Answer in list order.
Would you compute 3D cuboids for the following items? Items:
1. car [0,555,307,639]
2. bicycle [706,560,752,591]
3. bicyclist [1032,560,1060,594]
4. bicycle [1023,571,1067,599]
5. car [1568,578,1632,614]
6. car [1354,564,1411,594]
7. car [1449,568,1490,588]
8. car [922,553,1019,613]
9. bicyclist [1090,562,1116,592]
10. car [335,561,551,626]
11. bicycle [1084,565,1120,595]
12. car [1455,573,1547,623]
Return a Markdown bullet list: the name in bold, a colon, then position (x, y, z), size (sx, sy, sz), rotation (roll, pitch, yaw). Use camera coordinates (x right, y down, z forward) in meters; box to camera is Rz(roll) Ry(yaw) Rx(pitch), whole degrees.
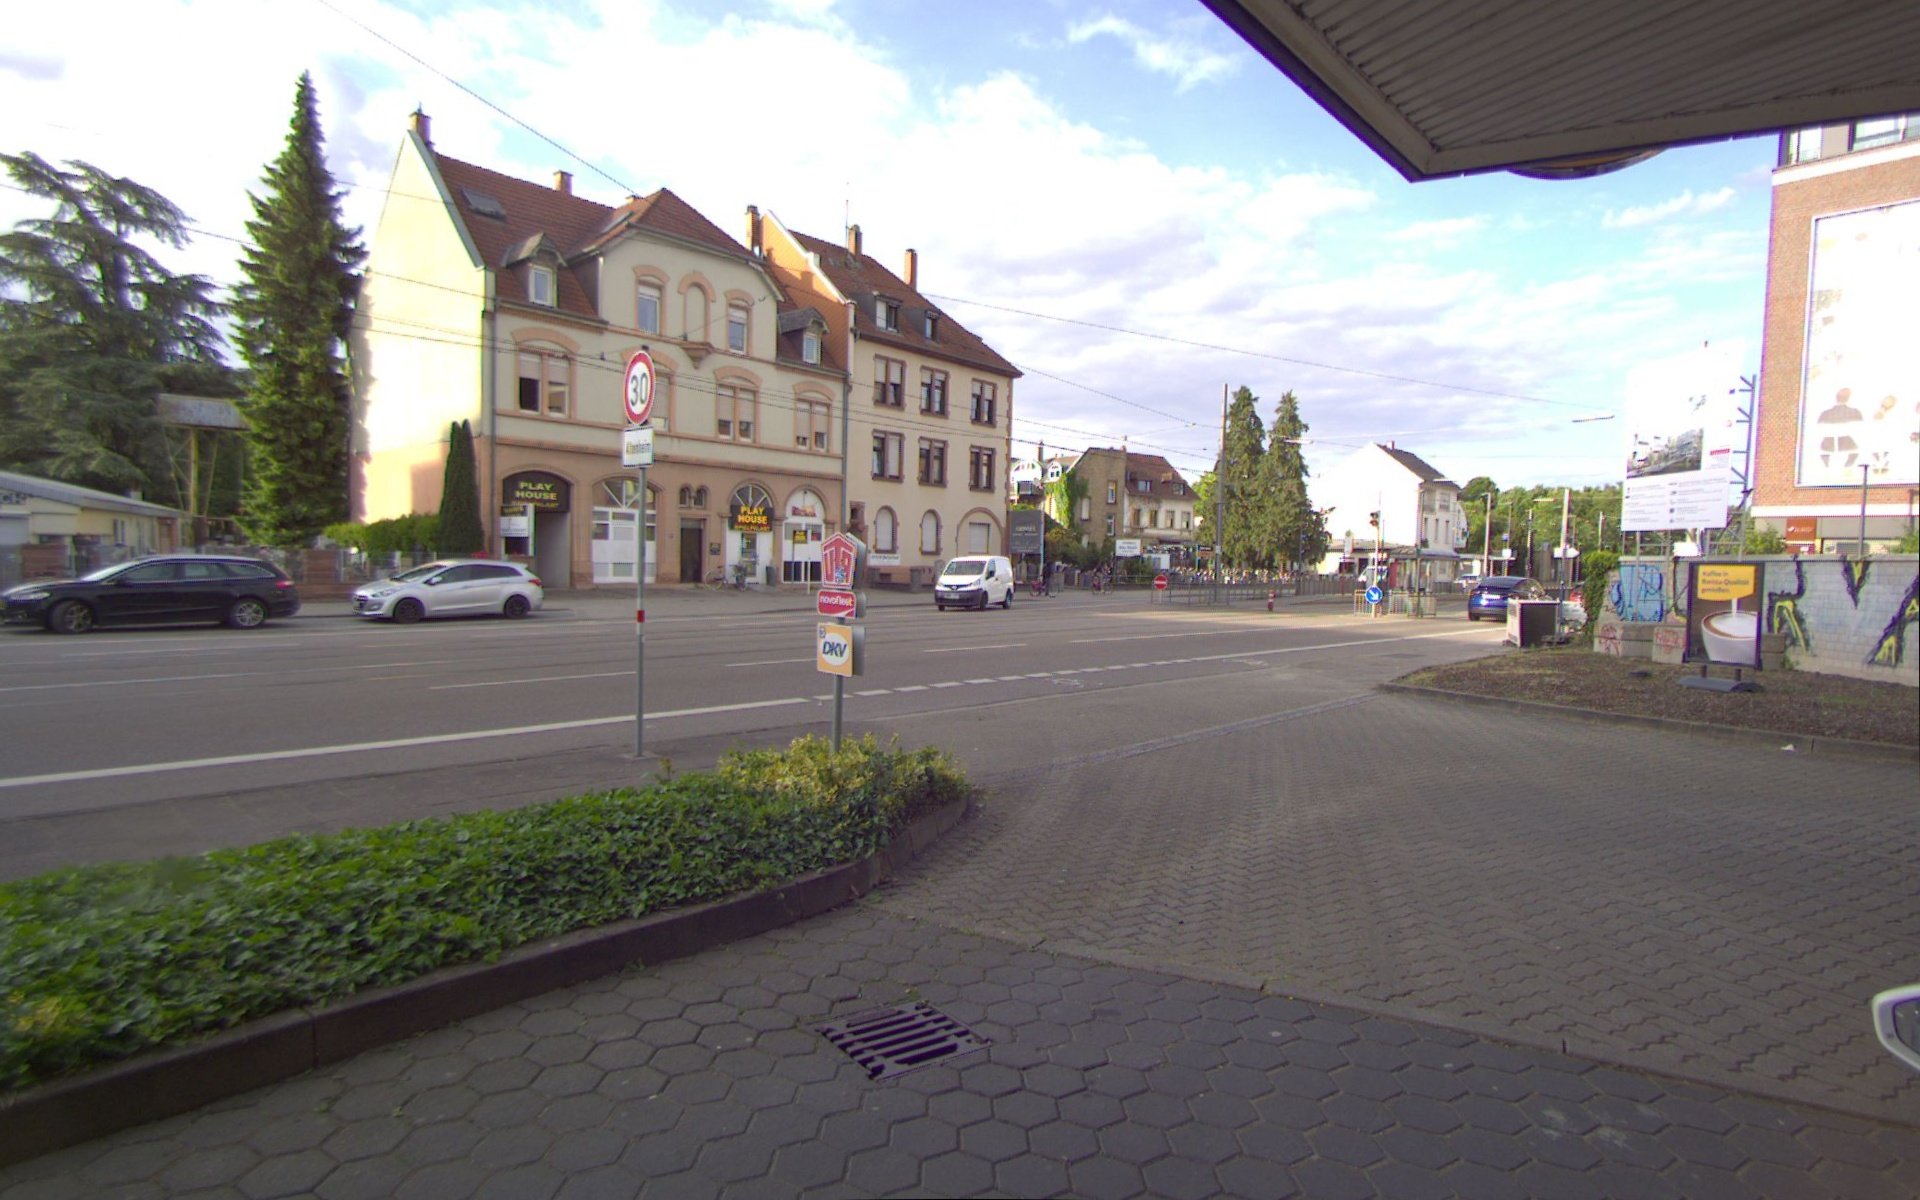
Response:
- **car**: position (-16.564, -0.142, 20.744), size (1.970, 1.516, 4.801), rotation (3, 3, 40)
- **bicycle**: position (-9.140, -0.950, 39.722), size (0.508, 1.189, 1.809), rotation (4, 2, 40)
- **bicyclist**: position (4.143, -1.114, 48.622), size (0.953, 1.579, 0.839), rotation (1, 6, -31)
- **bicycle**: position (4.115, -0.731, 48.649), size (1.884, 1.219, 0.839), rotation (1, 6, -31)
- **car**: position (30.527, -0.219, 47.842), size (1.745, 1.564, 4.106), rotation (5, 4, 43)
- **car**: position (29.621, -1.484, 70.300), size (1.973, 1.995, 4.858), rotation (3, 3, 44)
- **car**: position (42.395, -1.847, 83.536), size (1.816, 1.598, 4.353), rotation (2, 3, 44)
- **car**: position (0.453, -0.602, 35.006), size (1.930, 1.915, 4.410), rotation (3, 2, 21)
- **bicyclist**: position (7.516, -1.188, 52.813), size (1.089, 1.512, 0.778), rotation (-1, 5, -44)
- **car**: position (-12.996, -0.240, 25.476), size (1.970, 1.495, 4.467), rotation (3, 3, 40)
- **bicycle**: position (7.479, -1.051, 52.816), size (1.978, 1.512, 0.778), rotation (0, 5, -44)
- **car**: position (20.340, -0.081, 37.690), size (1.745, 1.679, 4.821), rotation (5, 4, 44)
